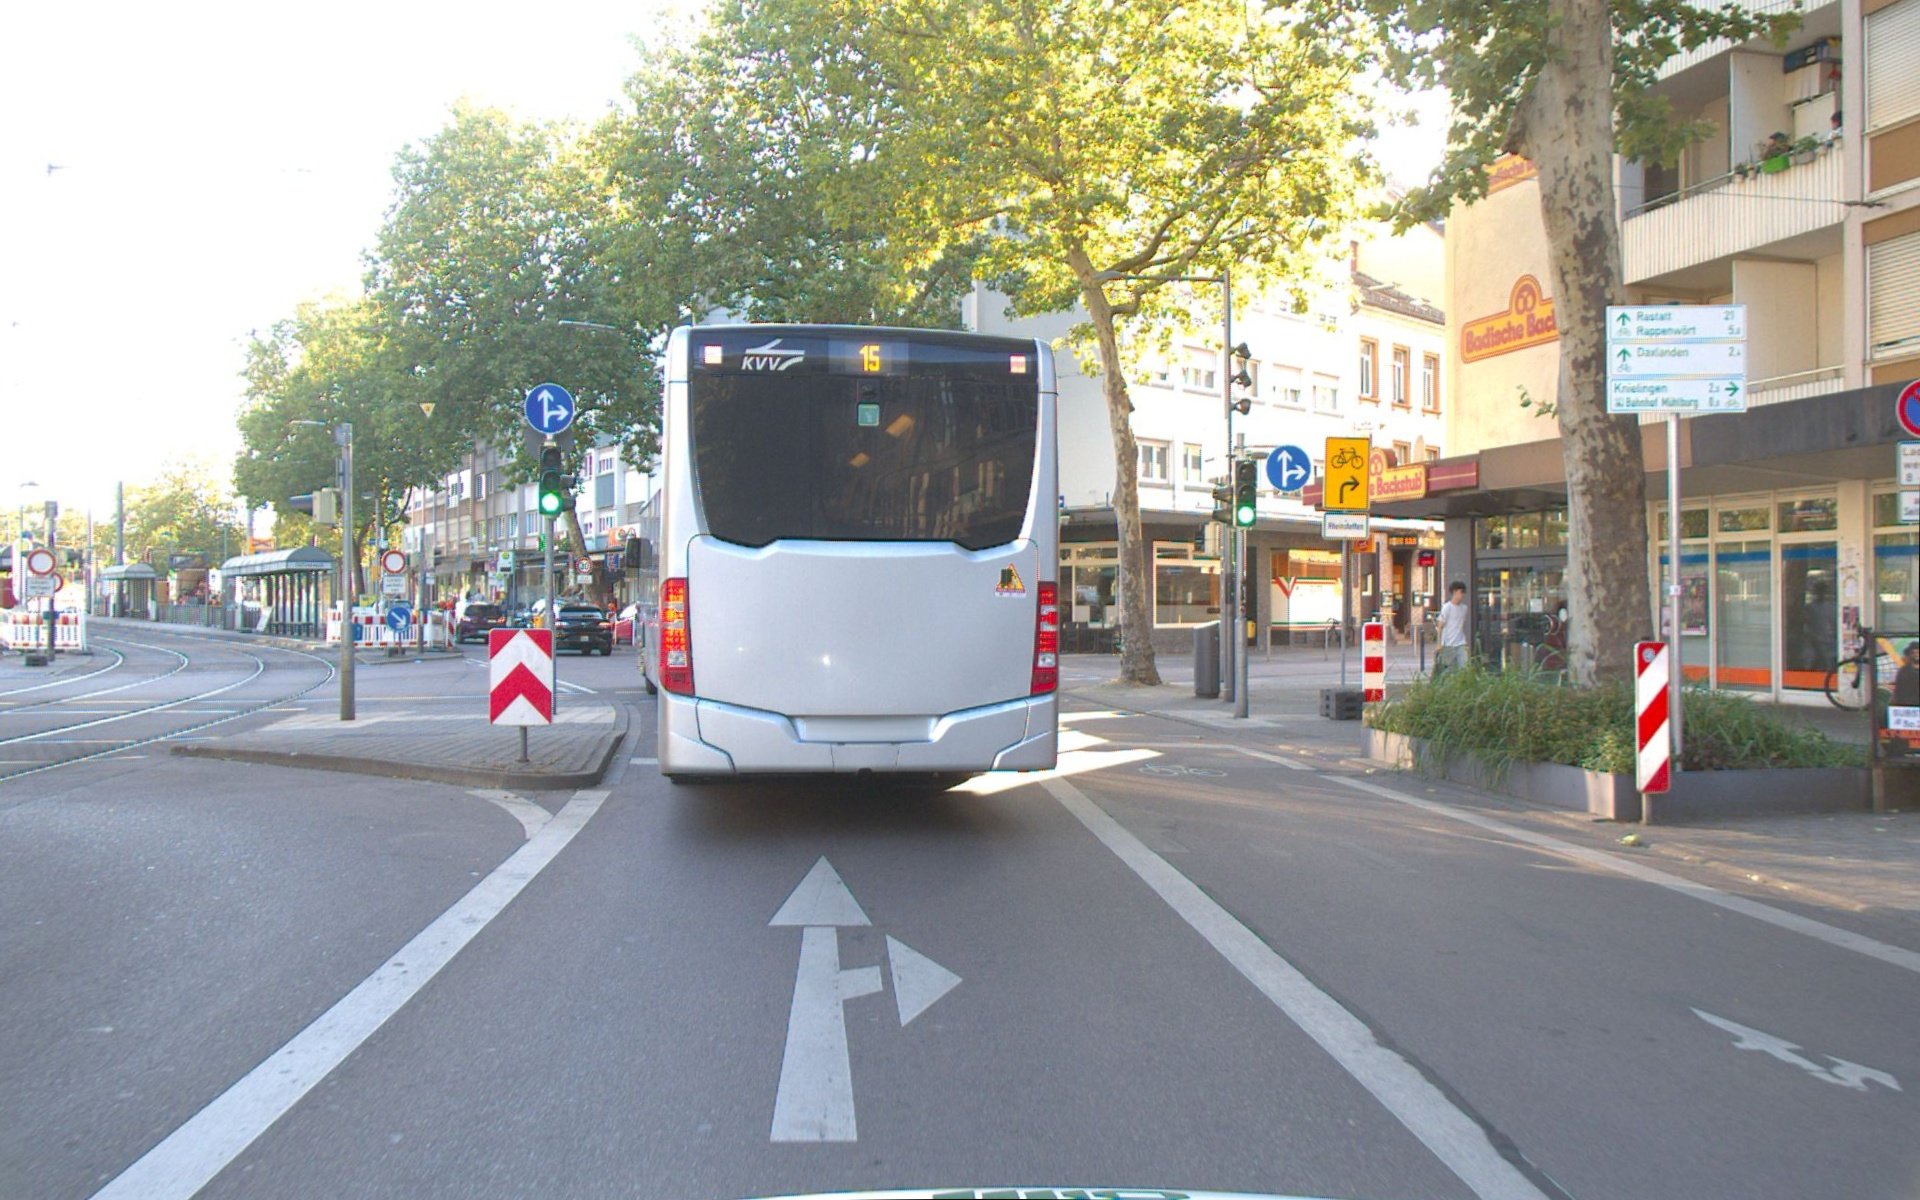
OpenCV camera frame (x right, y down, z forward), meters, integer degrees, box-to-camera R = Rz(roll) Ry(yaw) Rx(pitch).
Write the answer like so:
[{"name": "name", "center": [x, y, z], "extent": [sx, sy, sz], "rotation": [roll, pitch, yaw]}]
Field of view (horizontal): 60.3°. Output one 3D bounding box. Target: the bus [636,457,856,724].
[{"name": "bus", "center": [-3.502, -0.084, 24.830], "extent": [2.610, 3.153, 10.188], "rotation": [0, 0, -11]}]

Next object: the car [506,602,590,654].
[{"name": "car", "center": [-12.362, 0.804, 49.439], "extent": [1.734, 1.489, 3.968], "rotation": [0, 0, -25]}]

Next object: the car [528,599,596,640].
[{"name": "car", "center": [-15.862, 0.738, 65.817], "extent": [1.646, 1.494, 3.376], "rotation": [-4, 2, -31]}]

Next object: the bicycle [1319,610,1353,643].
[{"name": "bicycle", "center": [12.312, 0.875, 54.092], "extent": [0.289, 1.059, 1.708], "rotation": [-3, -2, 41]}]

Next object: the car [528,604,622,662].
[{"name": "car", "center": [-10.565, 0.858, 45.176], "extent": [1.734, 1.489, 3.968], "rotation": [0, 0, -25]}]

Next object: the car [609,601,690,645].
[{"name": "car", "center": [-10.952, 0.783, 58.145], "extent": [1.647, 1.419, 3.375], "rotation": [-4, 2, -32]}]

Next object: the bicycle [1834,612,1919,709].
[{"name": "bicycle", "center": [11.308, 0.717, 19.993], "extent": [0.430, 1.111, 1.457], "rotation": [-3, 0, -13]}]

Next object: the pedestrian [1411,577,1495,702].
[{"name": "pedestrian", "center": [7.147, 0.560, 24.000], "extent": [0.822, 1.742, 0.789], "rotation": [-2, 1, -18]}]

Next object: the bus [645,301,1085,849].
[{"name": "bus", "center": [-1.481, -0.114, 14.783], "extent": [2.610, 3.153, 10.188], "rotation": [0, 0, -11]}]

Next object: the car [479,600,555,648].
[{"name": "car", "center": [-14.439, 0.747, 53.760], "extent": [1.734, 1.489, 3.968], "rotation": [0, 0, -25]}]

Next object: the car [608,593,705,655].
[{"name": "car", "center": [-8.486, 0.641, 46.046], "extent": [1.738, 1.656, 3.580], "rotation": [0, 0, -27]}]

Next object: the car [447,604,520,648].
[{"name": "car", "center": [-16.707, 0.876, 57.907], "extent": [1.736, 1.489, 3.964], "rotation": [0, 0, -28]}]

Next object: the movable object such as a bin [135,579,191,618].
[{"name": "movable object such as a bin", "center": [-52.531, -0.103, 108.971], "extent": [2.474, 2.520, 5.288], "rotation": [0, 0, -36]}]
